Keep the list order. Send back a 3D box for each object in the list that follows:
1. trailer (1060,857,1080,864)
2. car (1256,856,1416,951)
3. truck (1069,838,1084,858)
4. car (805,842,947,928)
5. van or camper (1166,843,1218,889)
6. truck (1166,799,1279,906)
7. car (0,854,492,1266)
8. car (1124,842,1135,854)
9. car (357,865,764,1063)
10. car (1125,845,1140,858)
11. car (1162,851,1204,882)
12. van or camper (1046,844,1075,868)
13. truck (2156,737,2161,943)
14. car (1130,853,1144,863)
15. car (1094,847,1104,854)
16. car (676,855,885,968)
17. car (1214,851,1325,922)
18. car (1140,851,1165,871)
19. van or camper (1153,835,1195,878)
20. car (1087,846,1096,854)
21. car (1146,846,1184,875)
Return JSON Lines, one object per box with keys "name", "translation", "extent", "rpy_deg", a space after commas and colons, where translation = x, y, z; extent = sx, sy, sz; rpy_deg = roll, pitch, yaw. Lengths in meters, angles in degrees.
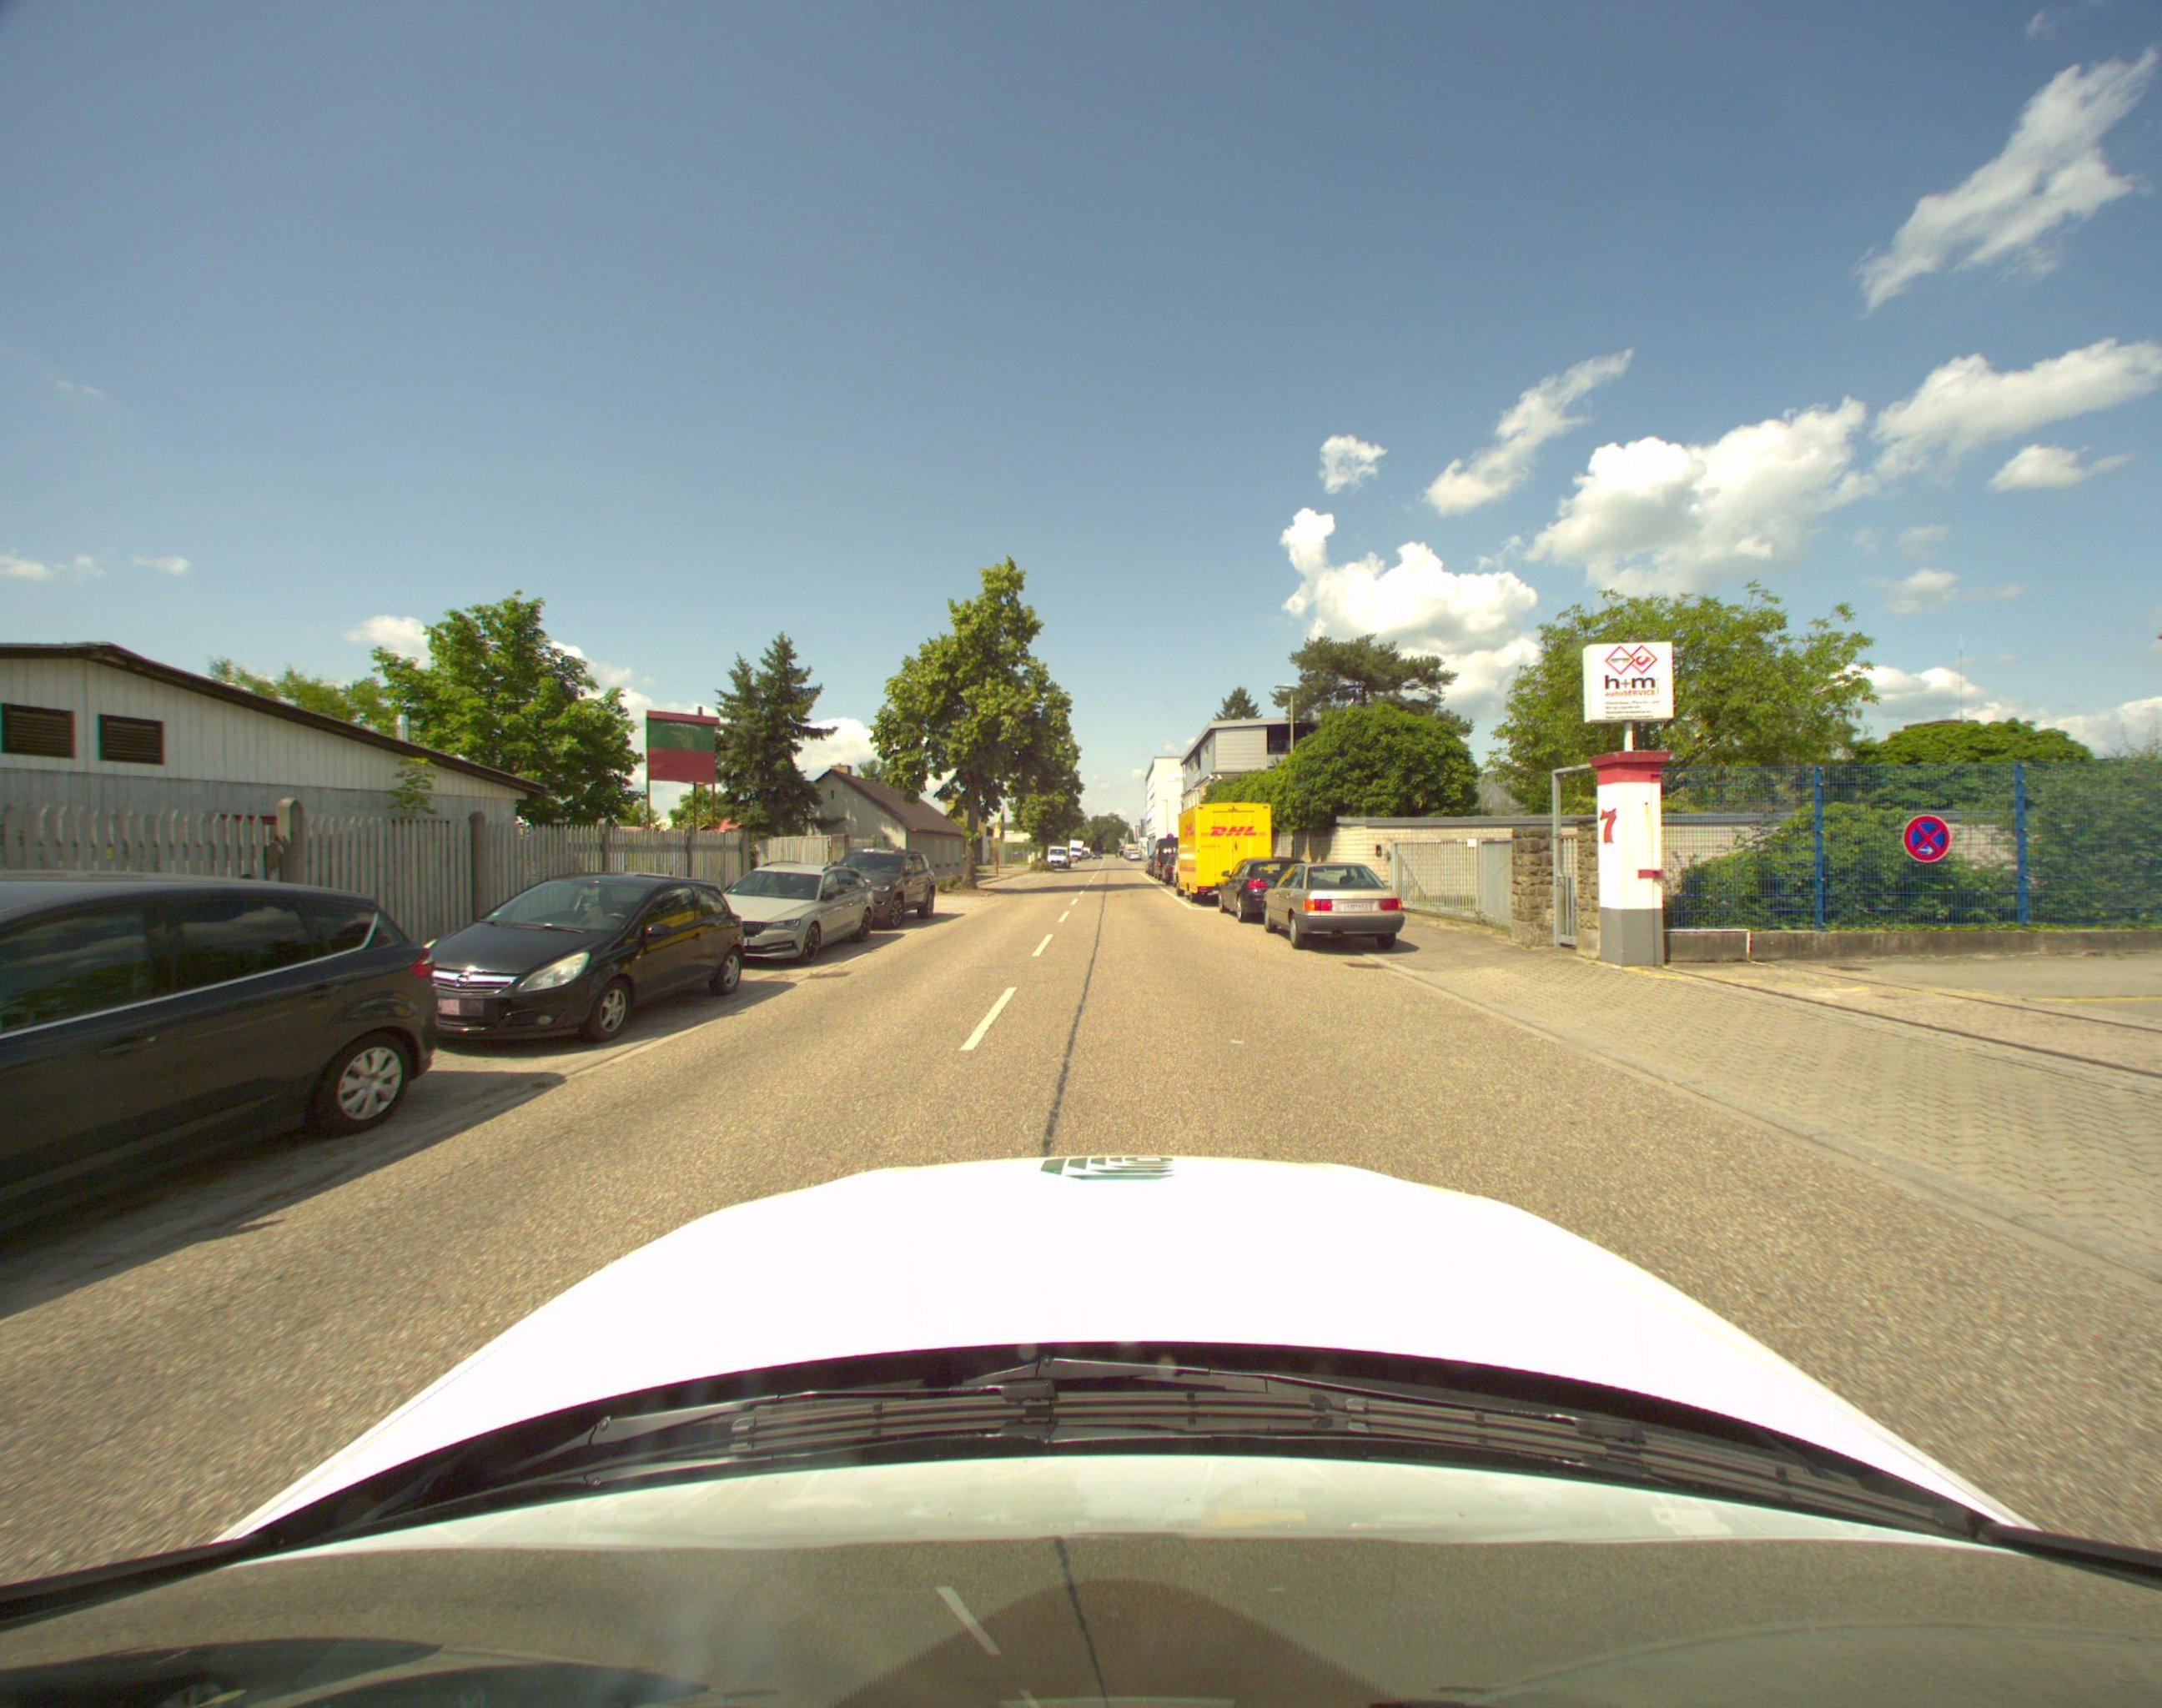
{"name": "trailer", "translation": [-1.543, 0.878, 116.725], "extent": [2.408, 0.813, 5.541], "rpy_deg": [1, 1, 2]}
{"name": "car", "translation": [4.327, 0.753, 14.516], "extent": [1.645, 1.387, 4.425], "rpy_deg": [0, 0, 2]}
{"name": "truck", "translation": [-0.667, -0.935, 130.601], "extent": [2.021, 3.154, 6.504], "rpy_deg": [-1, 0, 2]}
{"name": "car", "translation": [-4.762, 0.661, 19.761], "extent": [1.910, 1.822, 4.791], "rpy_deg": [-1, 0, 4]}
{"name": "van or camper", "translation": [4.723, 0.464, 35.191], "extent": [1.752, 1.805, 5.591], "rpy_deg": [0, 0, 3]}
{"name": "truck", "translation": [4.299, -0.072, 26.157], "extent": [2.466, 2.940, 7.190], "rpy_deg": [0, 0, 1]}
{"name": "car", "translation": [-5.258, 0.851, 3.796], "extent": [1.718, 1.604, 4.414], "rpy_deg": [2, 0, 0]}
{"name": "car", "translation": [8.498, -1.052, 142.794], "extent": [1.701, 2.090, 4.002], "rpy_deg": [-1, 0, 1]}
{"name": "car", "translation": [-5.047, 0.930, 8.684], "extent": [1.622, 1.448, 4.028], "rpy_deg": [3, 0, 1]}
{"name": "car", "translation": [8.340, -0.473, 132.034], "extent": [2.208, 2.013, 5.488], "rpy_deg": [-1, 0, 2]}
{"name": "car", "translation": [4.987, 0.590, 40.392], "extent": [1.675, 1.442, 4.769], "rpy_deg": [0, 0, 2]}
{"name": "van or camper", "translation": [-2.089, 0.140, 86.220], "extent": [2.163, 2.413, 7.709], "rpy_deg": [-1, 0, 5]}
{"name": "truck", "translation": [16.784, -0.217, 8.714], "extent": [7.050, 2.525, 2.578], "rpy_deg": [-1, 0, 1]}
{"name": "car", "translation": [8.126, 0.555, 118.671], "extent": [1.921, 1.310, 4.002], "rpy_deg": [-1, 0, 2]}
{"name": "car", "translation": [3.433, -0.628, 154.324], "extent": [1.648, 1.324, 4.419], "rpy_deg": [-1, 0, 2]}
{"name": "car", "translation": [-4.941, 0.845, 14.218], "extent": [1.727, 1.518, 4.744], "rpy_deg": [2, 1, 2]}
{"name": "car", "translation": [4.291, 0.674, 19.190], "extent": [1.656, 1.441, 4.283], "rpy_deg": [-1, 0, 1]}
{"name": "car", "translation": [5.185, 0.503, 59.292], "extent": [1.623, 1.353, 3.926], "rpy_deg": [-2, 0, 2]}
{"name": "van or camper", "translation": [5.228, 0.135, 46.425], "extent": [1.986, 2.291, 5.451], "rpy_deg": [1, 0, 2]}
{"name": "car", "translation": [2.223, -0.805, 171.172], "extent": [1.706, 1.650, 4.002], "rpy_deg": [-1, 0, 2]}
{"name": "car", "translation": [5.338, 0.387, 52.390], "extent": [1.953, 1.780, 4.955], "rpy_deg": [1, 0, 1]}
